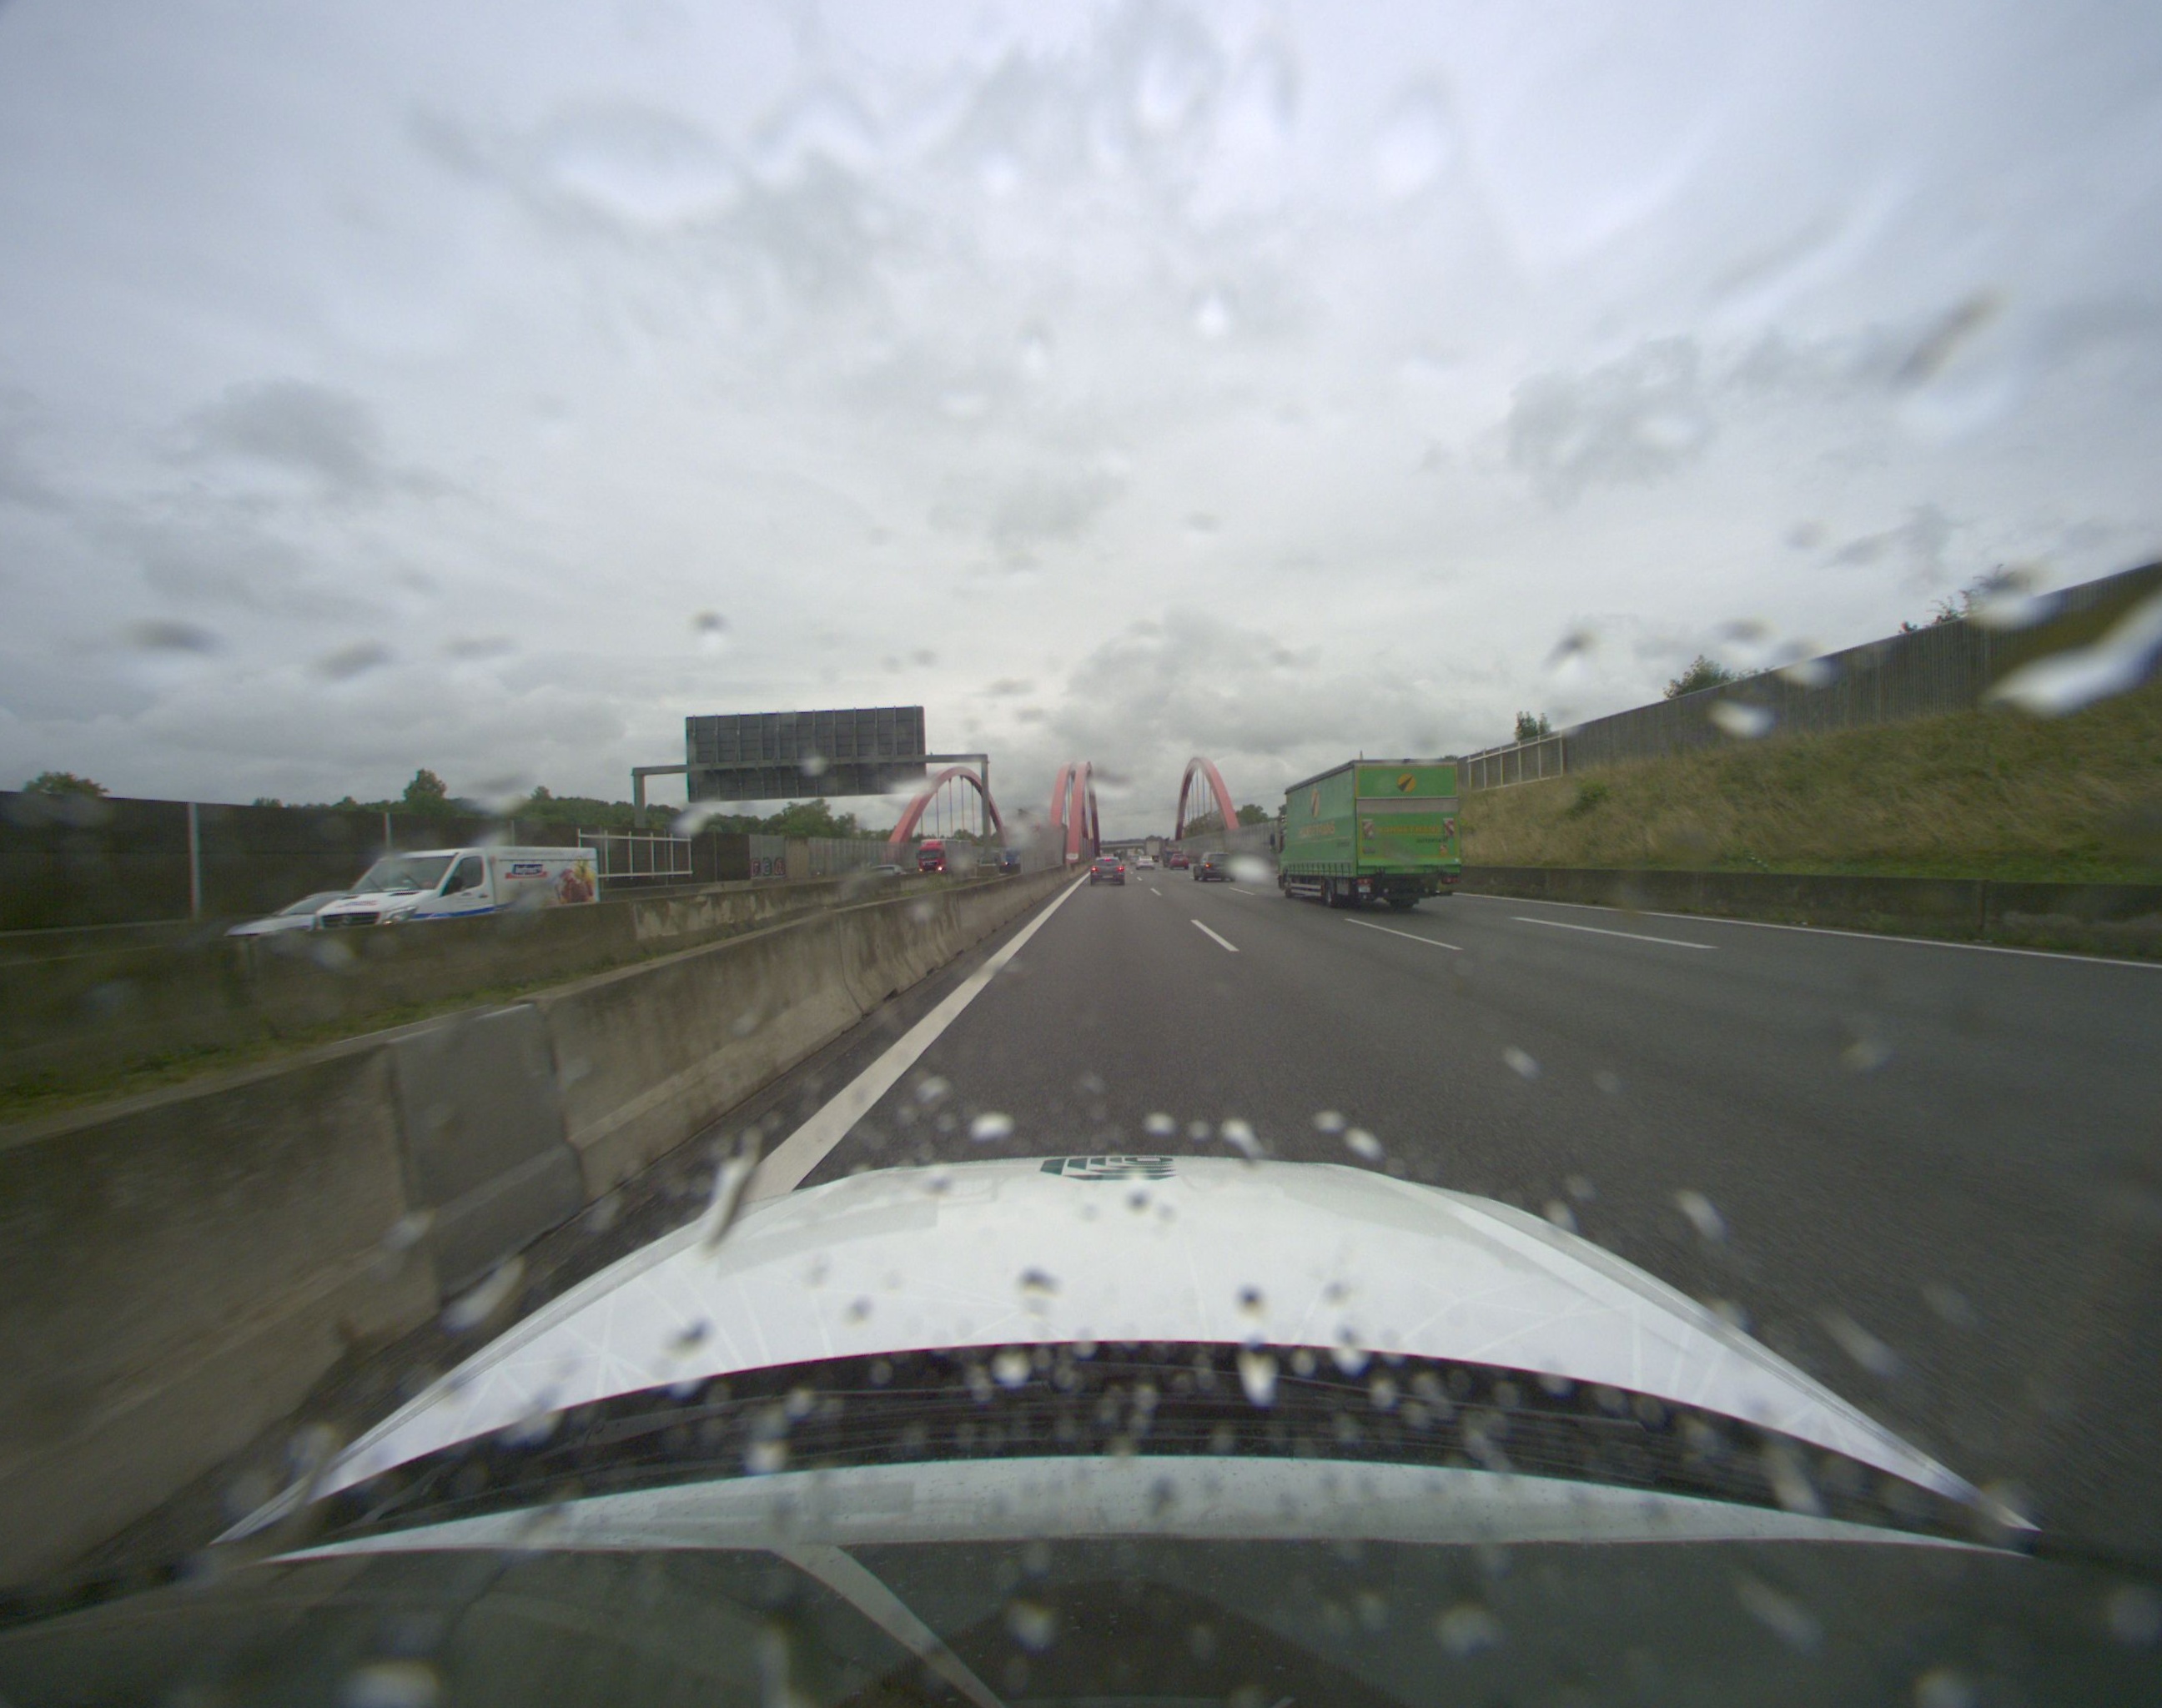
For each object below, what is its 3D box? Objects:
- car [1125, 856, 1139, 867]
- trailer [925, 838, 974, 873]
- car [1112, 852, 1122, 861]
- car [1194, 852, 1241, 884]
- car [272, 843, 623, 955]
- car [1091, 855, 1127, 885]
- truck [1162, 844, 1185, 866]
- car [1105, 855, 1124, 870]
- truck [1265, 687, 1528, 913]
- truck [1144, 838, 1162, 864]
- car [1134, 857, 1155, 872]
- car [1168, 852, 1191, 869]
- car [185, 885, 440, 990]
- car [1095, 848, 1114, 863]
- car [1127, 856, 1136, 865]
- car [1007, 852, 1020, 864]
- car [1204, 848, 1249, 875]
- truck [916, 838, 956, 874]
[{"bbox_3d":[7.059,1.013,113.091,1.696,1.543,3.840,-1,0,1],"label":"car"},{"bbox_3d":[-15.262,0.172,95.688,2.973,3.728,14.312,-1,0,2],"label":"trailer"},{"bbox_3d":[7.660,0.450,172.110,1.986,1.815,4.002,-1,0,2],"label":"car"},{"bbox_3d":[7.602,0.742,45.731,1.906,1.670,4.103,-1,0,0],"label":"car"},{"bbox_3d":[-13.597,0.822,18.444,2.205,2.013,7.062,-1,0,2],"label":"car"},{"bbox_3d":[1.450,0.779,41.683,1.757,1.453,4.002,-1,0,2],"label":"car"},{"bbox_3d":[11.100,0.078,98.104,2.352,2.506,6.147,-1,0,2],"label":"truck"},{"bbox_3d":[3.296,0.791,80.680,1.775,1.406,3.627,-1,0,1],"label":"car"},{"bbox_3d":[8.651,-1.254,24.700,3.982,5.266,11.225,-1,0,2],"label":"truck"},{"bbox_3d":[13.620,-0.497,153.817,3.033,4.734,7.683,0,0,2],"label":"truck"},{"bbox_3d":[6.603,1.050,84.885,1.986,1.486,4.001,-1,0,1],"label":"car"},{"bbox_3d":[10.121,0.660,83.933,1.950,1.647,4.001,0,0,1],"label":"car"},{"bbox_3d":[-17.305,1.788,18.674,1.987,1.980,4.000,-1,0,1],"label":"car"},{"bbox_3d":[2.584,0.138,91.492,1.987,1.585,4.000,-2,0,1],"label":"car"},{"bbox_3d":[11.716,1.453,189.035,1.986,2.014,4.002,0,0,2],"label":"car"},{"bbox_3d":[-12.353,0.728,149.717,1.987,2.013,4.191,-1,0,-1],"label":"car"},{"bbox_3d":[9.018,0.469,50.871,1.986,1.619,5.329,0,0,1],"label":"car"},{"bbox_3d":[-15.516,0.193,87.424,2.973,3.753,5.918,-1,0,1],"label":"truck"}]
